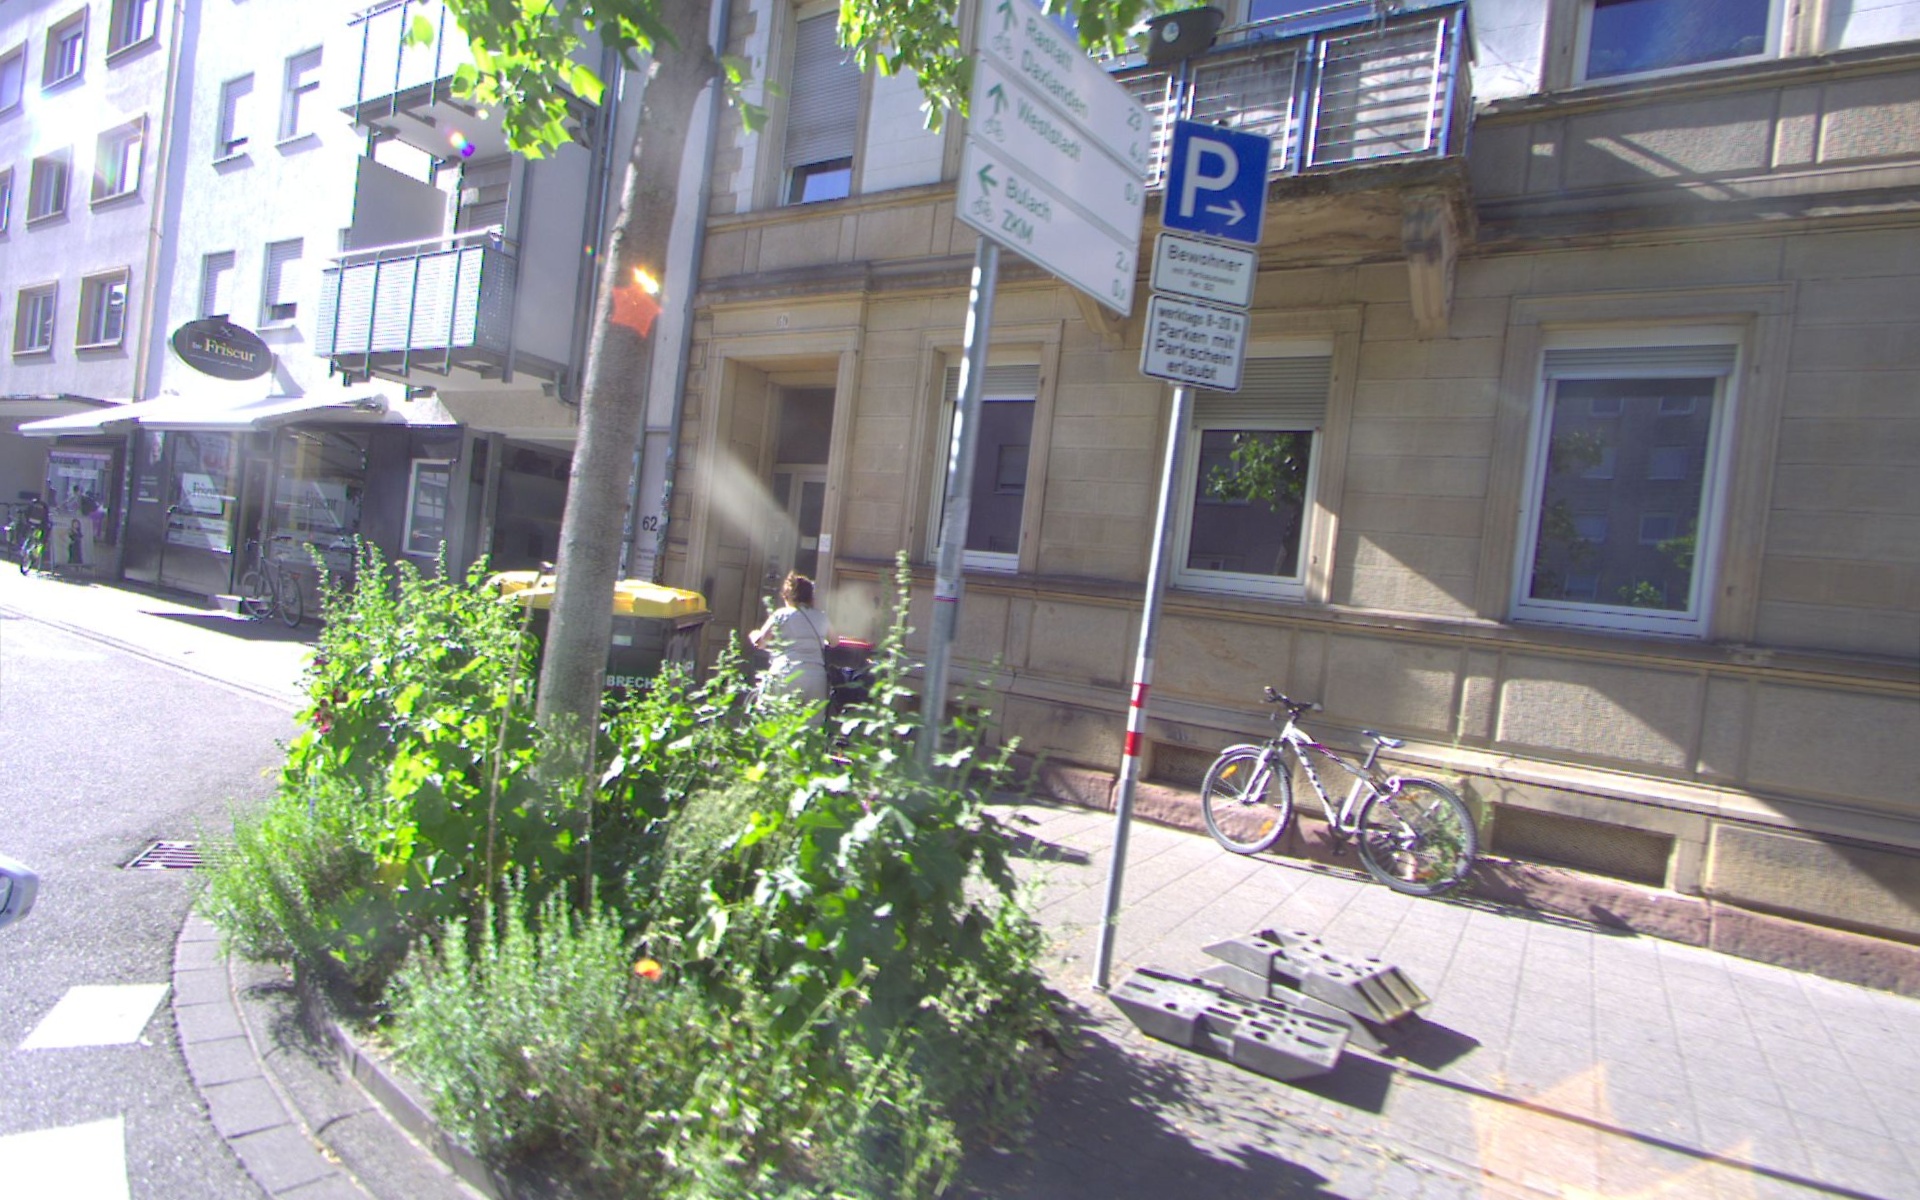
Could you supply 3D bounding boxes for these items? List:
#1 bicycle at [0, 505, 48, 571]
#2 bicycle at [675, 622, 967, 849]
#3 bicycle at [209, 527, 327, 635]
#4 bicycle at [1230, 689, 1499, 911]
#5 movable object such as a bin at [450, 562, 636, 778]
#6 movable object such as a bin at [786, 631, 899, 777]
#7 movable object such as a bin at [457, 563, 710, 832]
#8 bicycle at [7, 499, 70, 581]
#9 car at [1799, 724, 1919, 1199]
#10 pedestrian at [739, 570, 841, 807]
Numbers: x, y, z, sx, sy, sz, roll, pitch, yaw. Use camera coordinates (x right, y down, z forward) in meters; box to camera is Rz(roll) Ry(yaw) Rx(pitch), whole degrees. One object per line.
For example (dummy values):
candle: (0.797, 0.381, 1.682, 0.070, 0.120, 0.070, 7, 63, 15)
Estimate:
bicycle: (-18.212, -1.219, 19.358, 1.508, 1.133, 0.524, 7, 1, 32)
bicycle: (-1.012, 0.857, 6.923, 2.091, 1.163, 0.536, 7, 0, 36)
bicycle: (-9.569, -0.281, 13.886, 1.852, 1.285, 0.548, 7, 0, 32)
bicycle: (2.489, 1.186, 6.258, 1.404, 1.045, 0.432, 7, 4, 32)
movable object such as a bin: (-2.959, 0.472, 7.275, 1.026, 1.364, 1.104, 7, 0, -19)
movable object such as a bin: (-0.932, 0.812, 8.020, 0.537, 1.055, 0.599, 7, 1, 31)
movable object such as a bin: (-2.194, 0.532, 6.097, 1.090, 1.365, 1.269, 6, 1, -10)
bicycle: (-15.783, -1.031, 17.223, 1.198, 1.292, 0.475, 7, 4, 32)
car: (3.038, 1.147, 0.667, 3.520, 1.494, 1.637, 7, 1, 30)
pedestrian: (-1.125, 0.574, 6.671, 0.383, 1.488, 0.368, 7, 2, 31)
